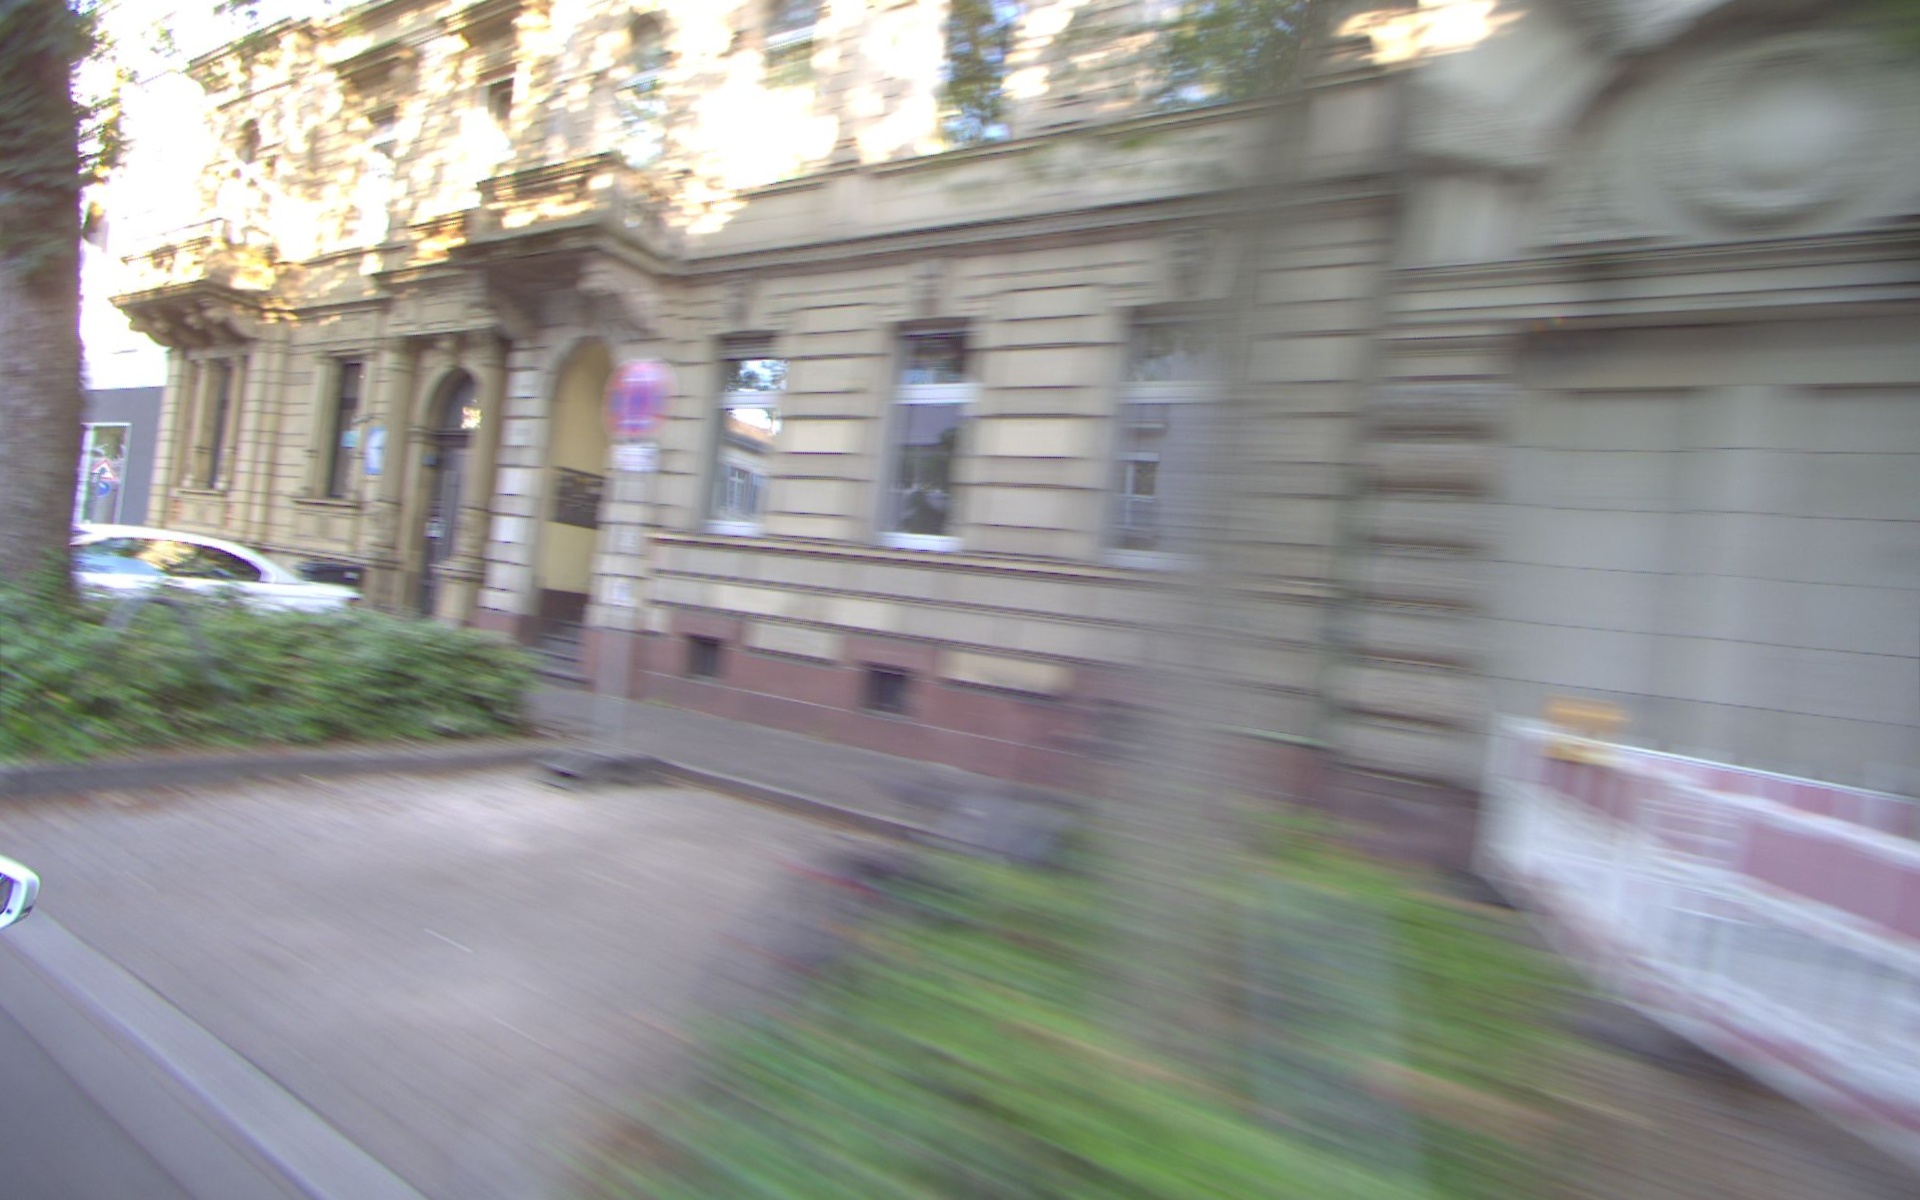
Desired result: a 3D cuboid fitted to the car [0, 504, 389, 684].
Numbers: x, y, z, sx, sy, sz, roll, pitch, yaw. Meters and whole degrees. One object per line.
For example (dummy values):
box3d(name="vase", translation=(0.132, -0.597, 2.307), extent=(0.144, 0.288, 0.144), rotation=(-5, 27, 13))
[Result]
box3d(name="car", translation=(-8.418, -0.089, 9.725), extent=(1.894, 1.454, 4.588), rotation=(6, -1, 34))

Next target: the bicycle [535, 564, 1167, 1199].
box3d(name="bicycle", translation=(-0.067, 0.751, 2.822), extent=(0.500, 1.375, 2.052), rotation=(7, -3, 30))

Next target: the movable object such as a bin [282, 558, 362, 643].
box3d(name="movable object such as a bin", translation=(-8.767, 0.011, 13.829), extent=(0.605, 1.077, 0.658), rotation=(6, 0, 32))
